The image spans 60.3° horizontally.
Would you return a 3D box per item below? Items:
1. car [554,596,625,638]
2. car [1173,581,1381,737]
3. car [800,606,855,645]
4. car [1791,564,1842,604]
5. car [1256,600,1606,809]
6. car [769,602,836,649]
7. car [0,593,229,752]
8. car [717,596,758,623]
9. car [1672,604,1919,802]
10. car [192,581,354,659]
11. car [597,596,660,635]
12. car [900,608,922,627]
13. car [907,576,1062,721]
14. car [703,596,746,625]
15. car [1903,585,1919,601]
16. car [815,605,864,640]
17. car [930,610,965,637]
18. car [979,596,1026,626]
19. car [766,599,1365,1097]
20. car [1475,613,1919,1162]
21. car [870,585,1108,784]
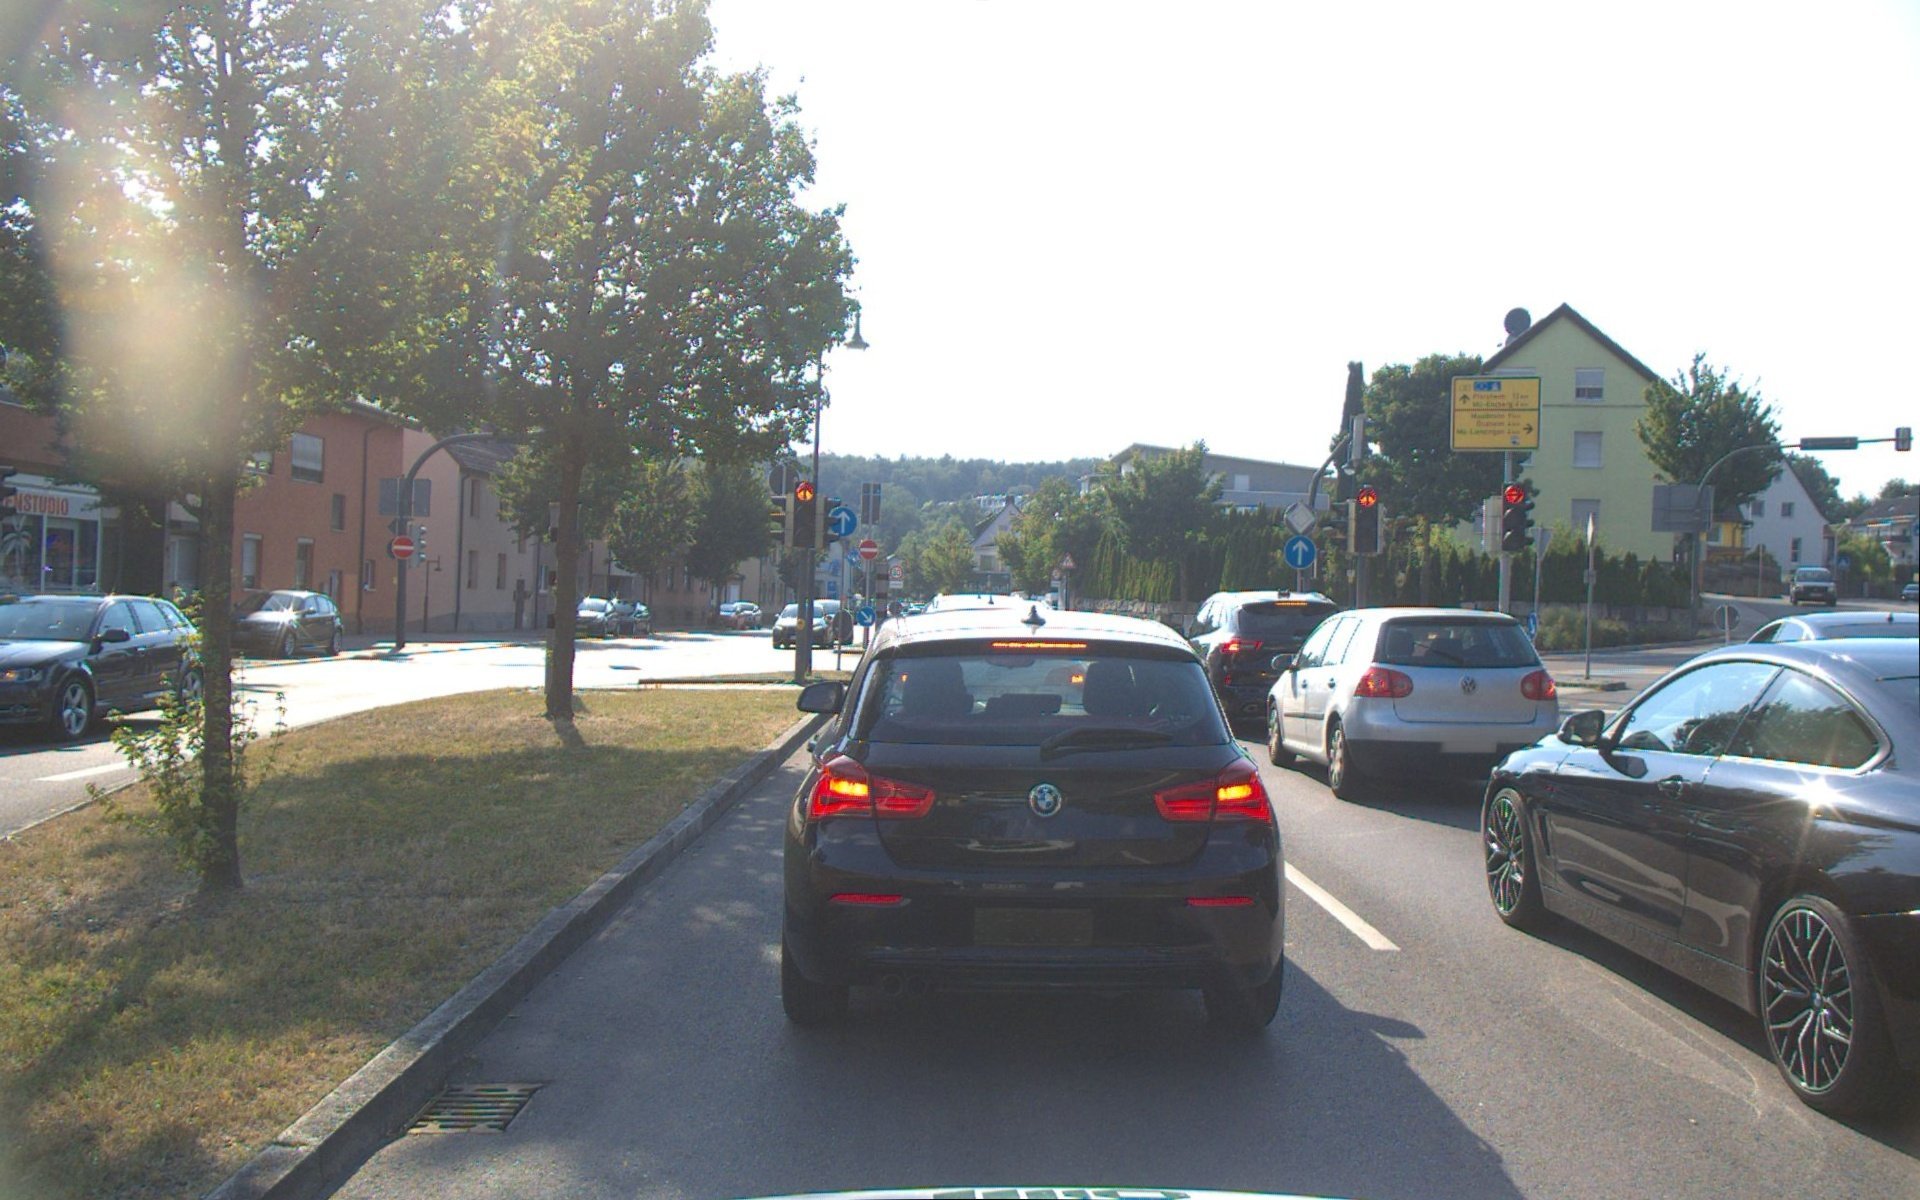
[{"bbox_3d":[-14.985,0.655,67.032,1.884,1.624,4.000,1,0,1],"label":"car"},{"bbox_3d":[3.784,0.645,20.445,1.779,1.695,4.347,1,0,1],"label":"car"},{"bbox_3d":[-4.984,0.928,62.477,1.658,1.377,4.000,1,0,1],"label":"car"},{"bbox_3d":[37.323,-0.720,72.152,1.750,1.533,4.069,1,4,24],"label":"car"},{"bbox_3d":[3.778,0.752,14.084,1.779,1.471,4.347,1,0,1],"label":"car"},{"bbox_3d":[-5.205,0.826,55.095,1.730,1.484,4.000,1,0,1],"label":"car"},{"bbox_3d":[-9.228,0.644,16.984,1.611,1.411,4.189,1,0,-1],"label":"car"},{"bbox_3d":[-13.800,0.596,102.825,1.884,1.624,4.000,1,0,1],"label":"car"},{"bbox_3d":[7.947,0.784,14.628,1.645,1.460,4.592,1,0,5],"label":"car"},{"bbox_3d":[-15.509,0.422,37.572,1.805,1.579,4.001,3,0,2],"label":"car"},{"bbox_3d":[-14.653,0.670,73.295,1.884,1.624,4.000,1,0,1],"label":"car"},{"bbox_3d":[-4.310,1.532,145.375,1.885,1.624,3.999,1,0,-1],"label":"car"},{"bbox_3d":[0.314,0.562,21.399,1.779,1.670,4.242,1,0,1],"label":"car"},{"bbox_3d":[-13.845,0.610,97.319,1.884,1.624,4.000,1,0,1],"label":"car"},{"bbox_3d":[79.032,-0.575,136.714,1.678,1.266,3.995,1,1,28],"label":"car"},{"bbox_3d":[-5.027,0.909,69.375,1.658,1.377,4.000,1,0,1],"label":"car"},{"bbox_3d":[-0.821,1.508,107.300,1.854,1.732,4.518,0,0,-6],"label":"car"},{"bbox_3d":[2.208,0.548,86.412,1.826,1.511,4.652,1,0,-6],"label":"car"},{"bbox_3d":[0.341,0.734,7.071,1.754,1.439,4.347,1,0,1],"label":"car"},{"bbox_3d":[3.458,0.788,6.140,1.779,1.413,4.347,1,0,1],"label":"car"},{"bbox_3d":[0.247,0.633,14.594,1.779,1.476,4.242,1,0,1],"label":"car"}]
